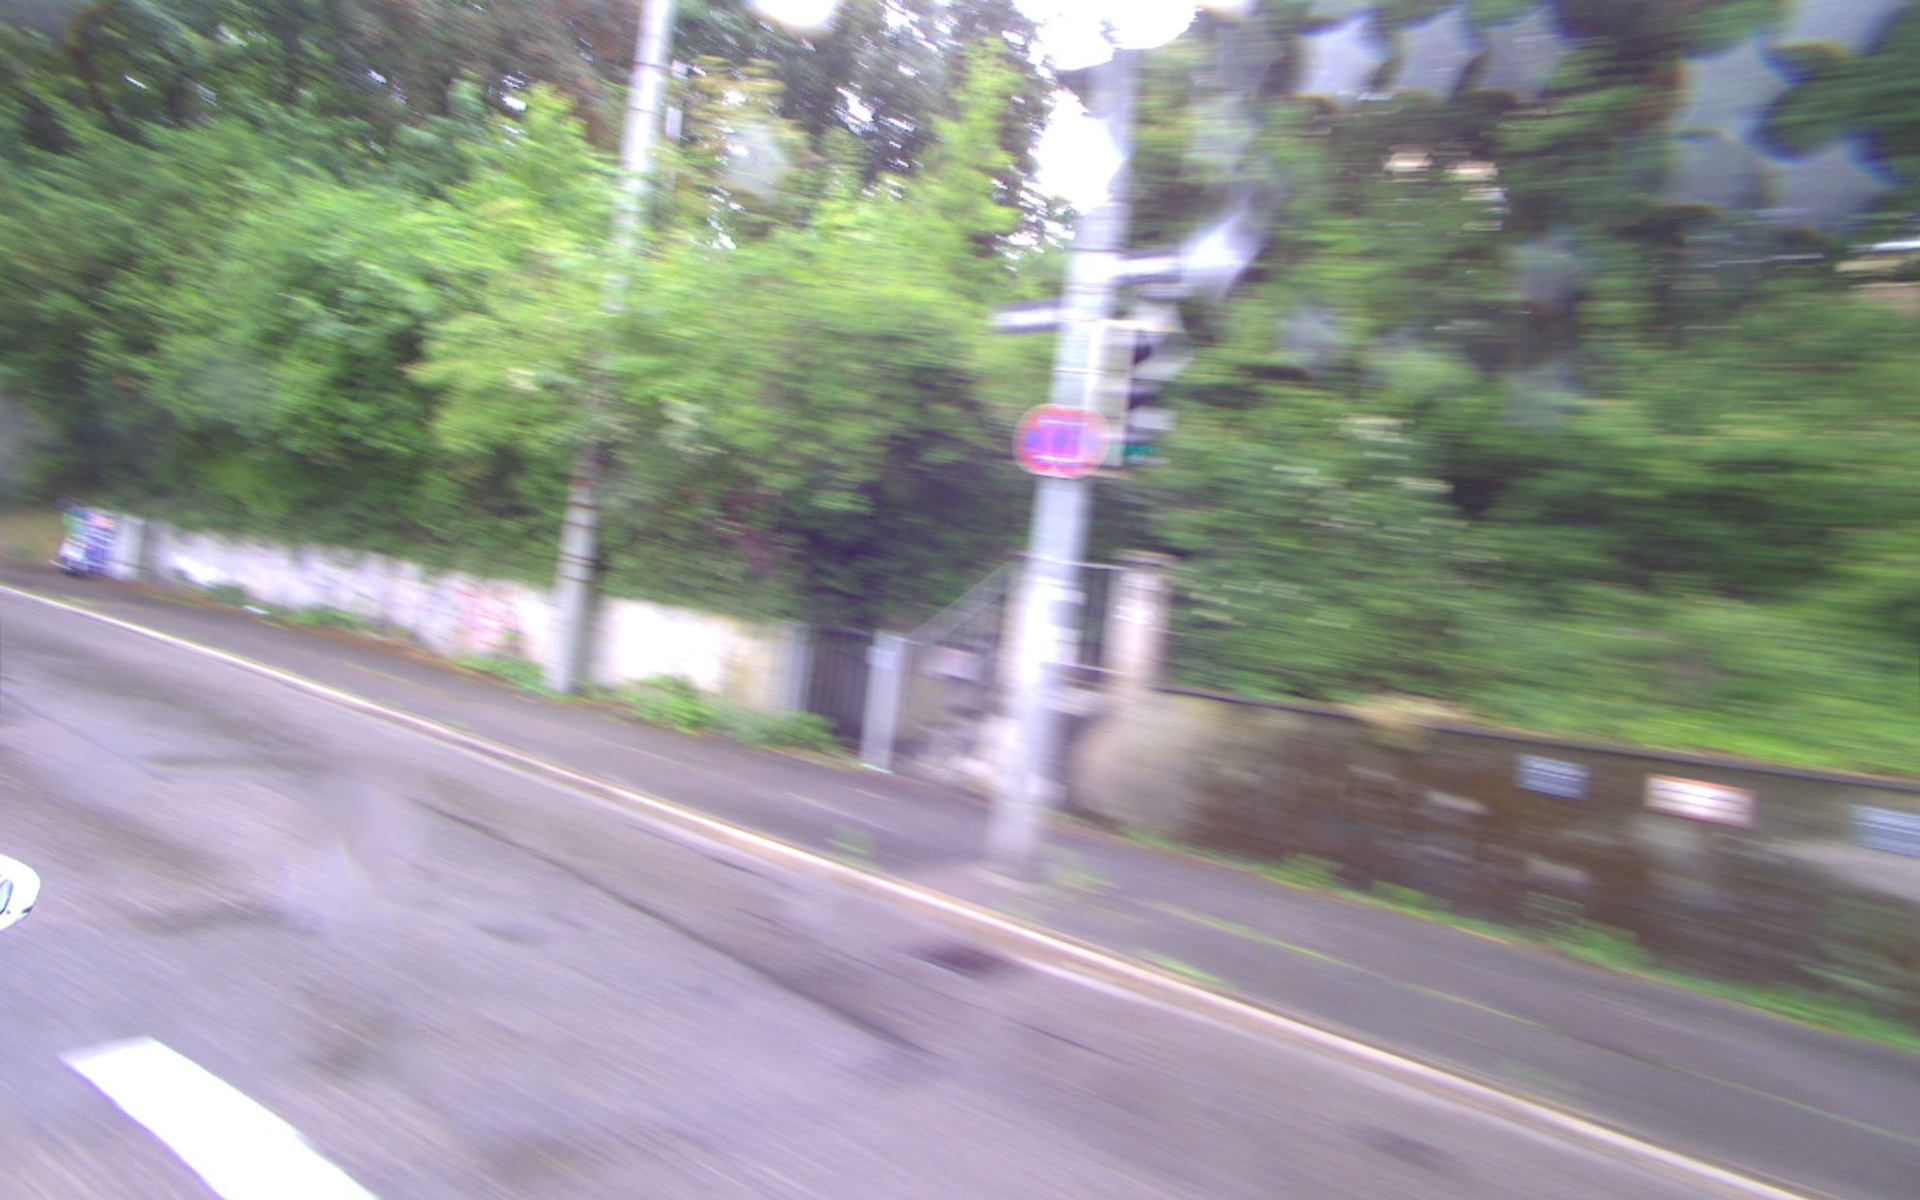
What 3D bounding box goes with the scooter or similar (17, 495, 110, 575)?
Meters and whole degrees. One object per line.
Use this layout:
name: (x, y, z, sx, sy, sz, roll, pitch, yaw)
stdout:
scooter or similar: (-14.556, -1.063, 16.327, 1.740, 1.088, 0.603, 8, -1, 33)
